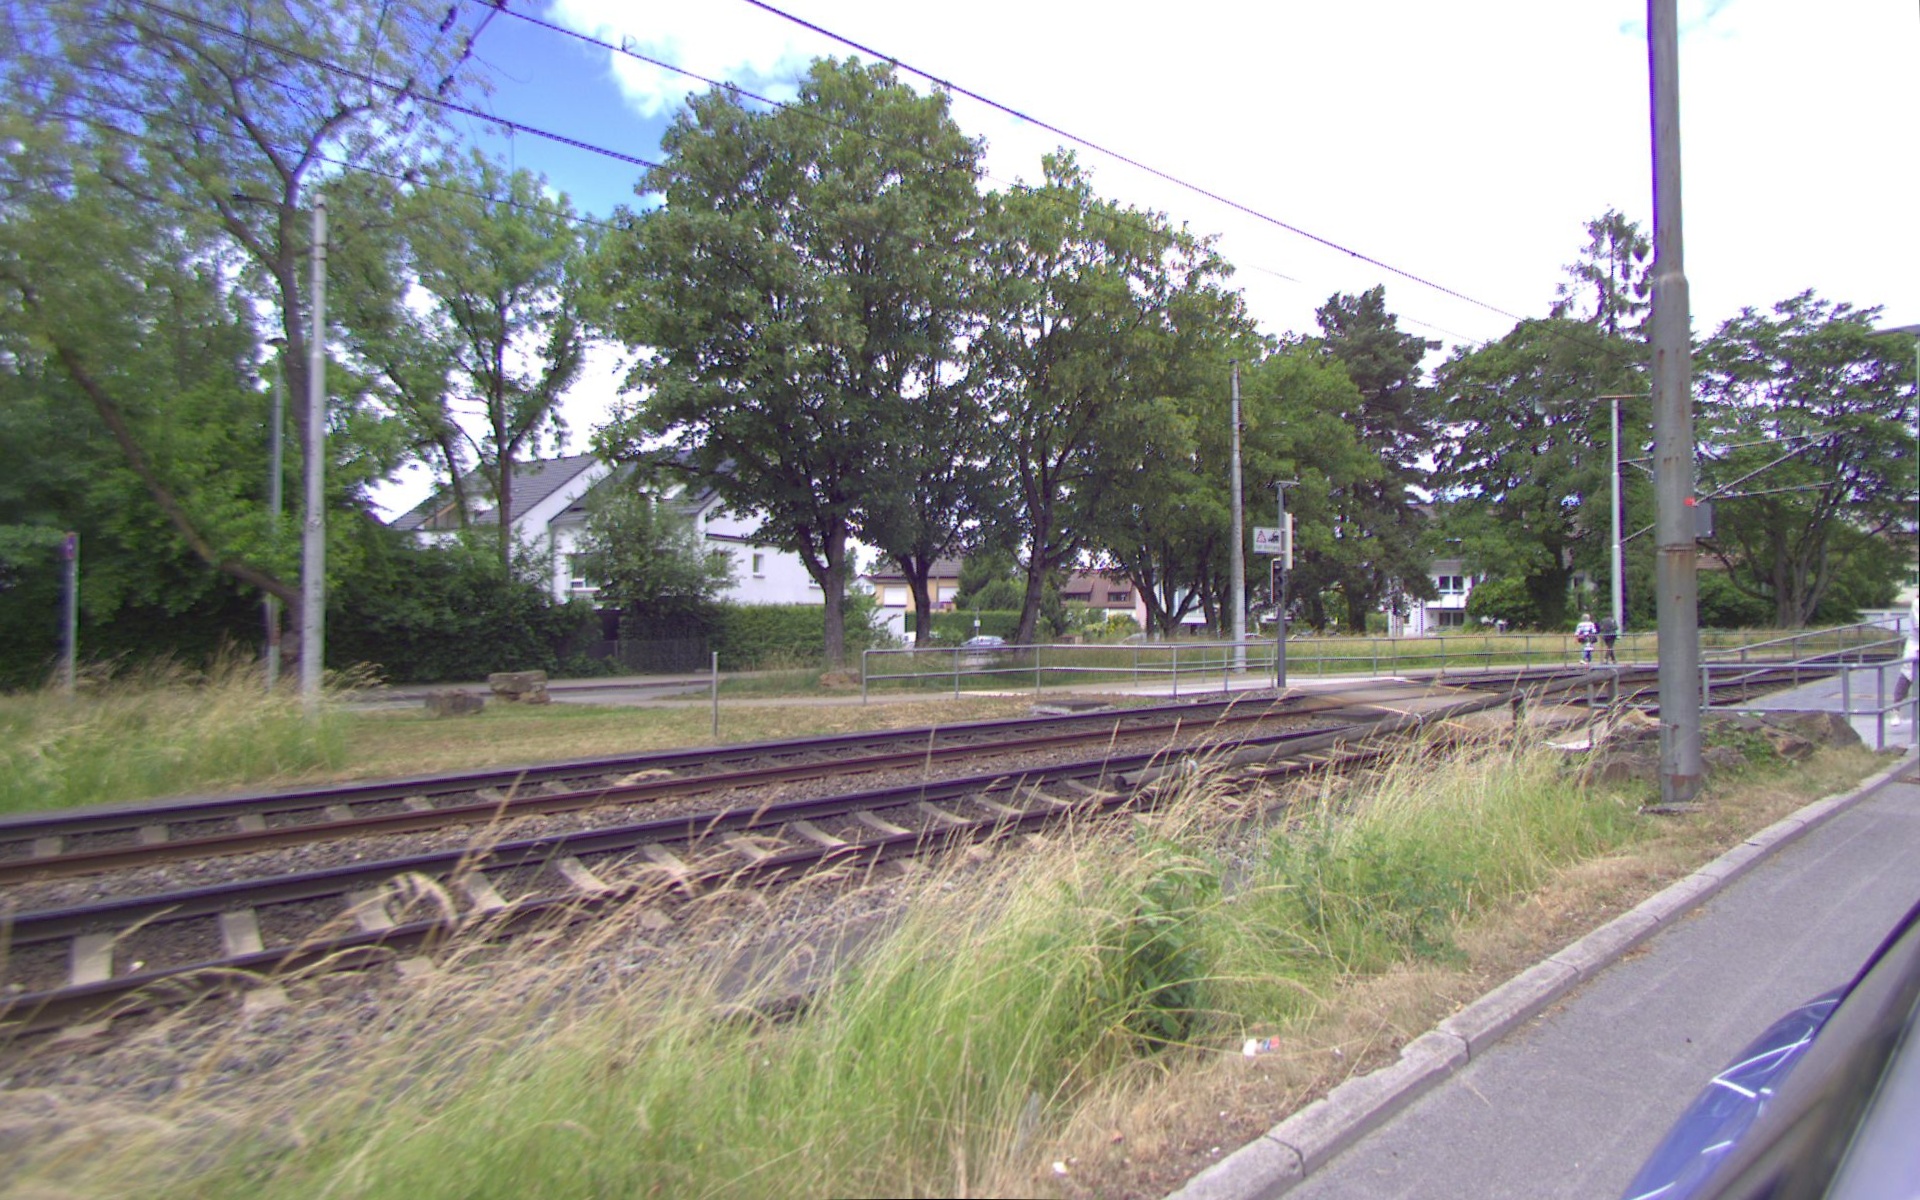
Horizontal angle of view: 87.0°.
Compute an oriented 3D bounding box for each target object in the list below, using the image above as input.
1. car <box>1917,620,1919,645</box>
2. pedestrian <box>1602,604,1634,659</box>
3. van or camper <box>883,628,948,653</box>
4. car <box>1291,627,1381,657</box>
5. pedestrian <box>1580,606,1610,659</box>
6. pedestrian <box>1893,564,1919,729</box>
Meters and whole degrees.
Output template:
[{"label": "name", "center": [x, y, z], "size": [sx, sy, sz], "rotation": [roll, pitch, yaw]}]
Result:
[{"label": "car", "center": [54.980, 1.776, 55.588], "size": [3.916, 1.366, 2.003], "rotation": [0, -2, -22]}, {"label": "pedestrian", "center": [19.790, 0.936, 30.448], "size": [0.775, 1.643, 0.494], "rotation": [1, -2, -33]}, {"label": "van or camper", "center": [-3.093, 2.844, 71.162], "size": [4.261, 1.672, 1.993], "rotation": [-1, -2, 10]}, {"label": "car", "center": [19.123, 2.132, 51.519], "size": [3.916, 1.458, 1.799], "rotation": [0, -2, -15]}, {"label": "pedestrian", "center": [19.425, 0.988, 30.942], "size": [0.679, 1.582, 0.494], "rotation": [1, -2, -32]}, {"label": "pedestrian", "center": [11.270, 0.515, 11.612], "size": [0.655, 1.863, 0.590], "rotation": [-2, 0, 32]}]
